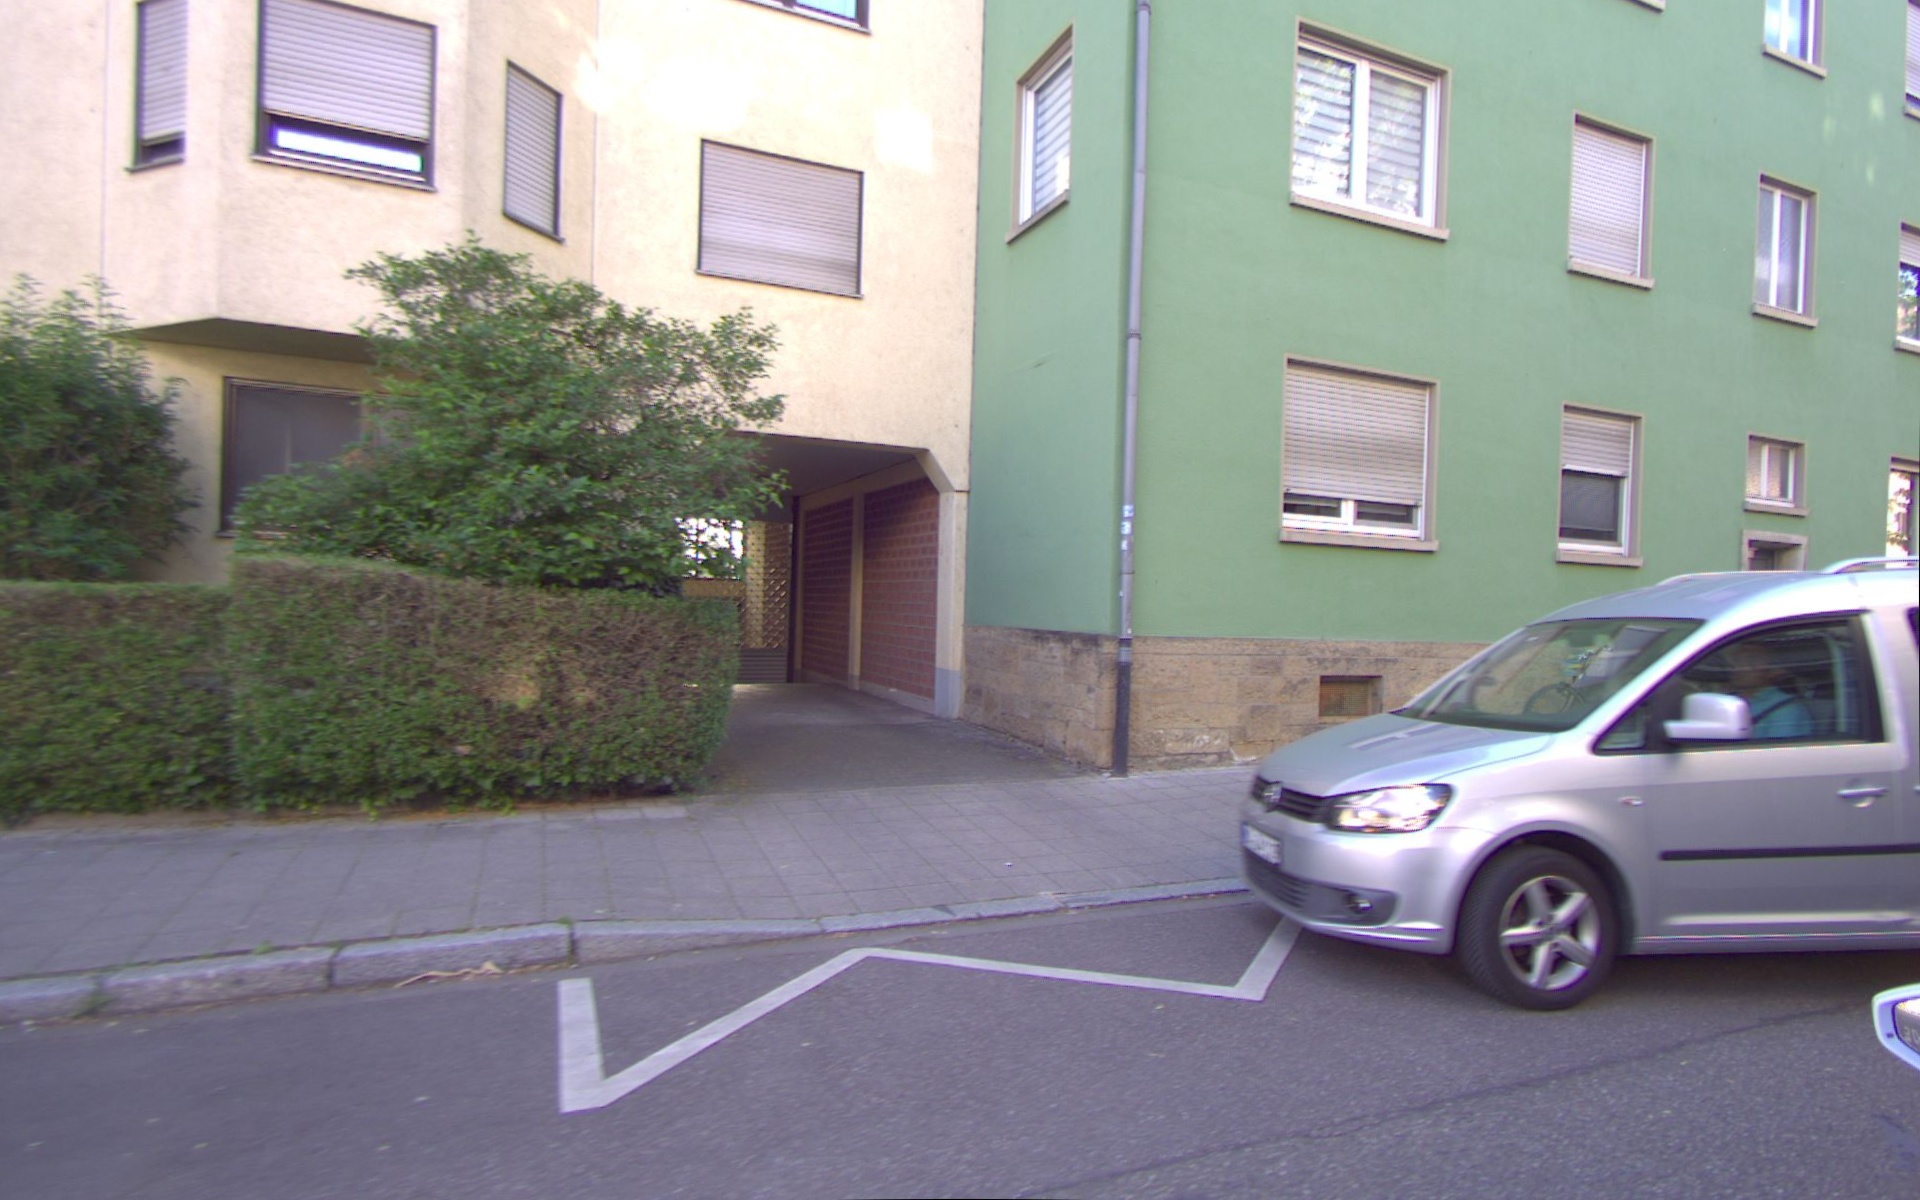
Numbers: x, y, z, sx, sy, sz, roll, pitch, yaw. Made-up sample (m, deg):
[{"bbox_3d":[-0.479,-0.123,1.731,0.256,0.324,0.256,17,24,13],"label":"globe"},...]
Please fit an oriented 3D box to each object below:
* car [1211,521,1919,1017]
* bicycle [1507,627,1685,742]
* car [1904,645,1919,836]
[{"bbox_3d":[3.605,0.718,4.808,4.330,1.867,1.777,1,-2,-3],"label":"car"},{"bbox_3d":[6.633,0.872,10.457,1.942,1.090,0.485,2,4,-24],"label":"bicycle"},{"bbox_3d":[9.790,1.137,8.116,4.448,1.481,1.714,2,-3,-26],"label":"car"}]
